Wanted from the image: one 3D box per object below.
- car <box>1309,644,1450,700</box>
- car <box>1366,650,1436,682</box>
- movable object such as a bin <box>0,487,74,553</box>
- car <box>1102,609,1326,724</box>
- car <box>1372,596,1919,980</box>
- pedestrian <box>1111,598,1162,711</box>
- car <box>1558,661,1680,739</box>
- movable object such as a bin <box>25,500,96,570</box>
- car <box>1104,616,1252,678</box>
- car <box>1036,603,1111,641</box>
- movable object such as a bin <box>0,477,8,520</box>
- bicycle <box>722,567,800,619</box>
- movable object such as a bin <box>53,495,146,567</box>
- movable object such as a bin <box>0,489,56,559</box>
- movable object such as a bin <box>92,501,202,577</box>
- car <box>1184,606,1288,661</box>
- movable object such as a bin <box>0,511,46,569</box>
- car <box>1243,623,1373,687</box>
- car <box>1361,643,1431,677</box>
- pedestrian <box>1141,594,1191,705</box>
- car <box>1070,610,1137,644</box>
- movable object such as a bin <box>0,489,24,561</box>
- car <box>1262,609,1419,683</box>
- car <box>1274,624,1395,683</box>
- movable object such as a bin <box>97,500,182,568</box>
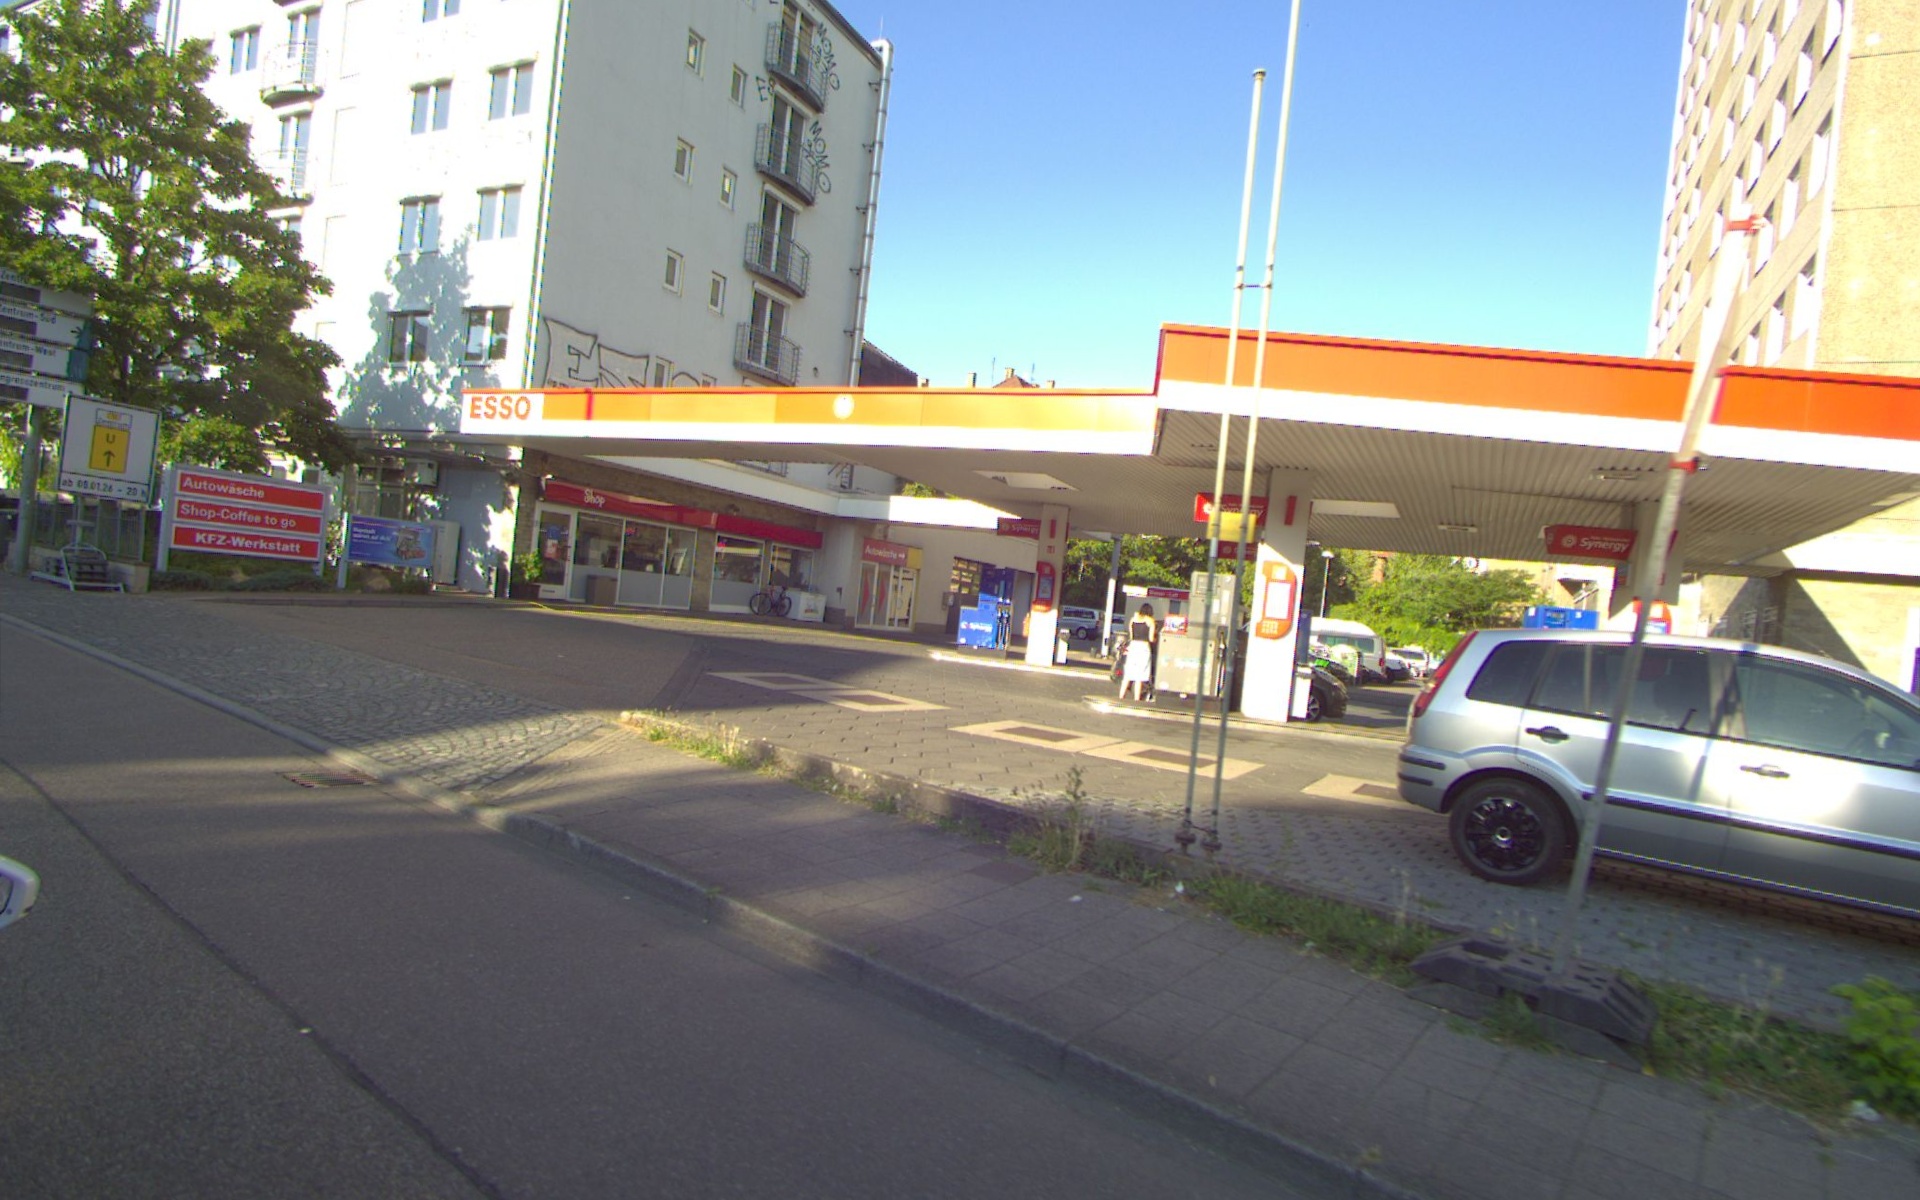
[{"bbox_3d":[14.311,2.422,34.374,4.183,1.312,1.748,7,0,30],"label":"car"},{"bbox_3d":[27.151,4.034,61.978,3.620,1.482,1.654,6,0,32],"label":"car"},{"bbox_3d":[-23.541,-2.029,25.651,0.940,1.503,1.105,7,1,29],"label":"movable object such as a bin"},{"bbox_3d":[4.056,1.037,16.490,3.239,1.457,1.590,6,1,6],"label":"car"},{"bbox_3d":[4.630,0.997,5.718,3.835,1.614,1.619,6,0,37],"label":"car"},{"bbox_3d":[2.700,0.823,15.426,0.557,1.642,0.534,6,1,7],"label":"pedestrian"},{"bbox_3d":[15.806,2.347,24.335,1.965,1.467,3.994,7,0,28],"label":"car"},{"bbox_3d":[-18.704,-1.346,20.923,0.850,1.325,0.778,7,1,29],"label":"movable object such as a bin"},{"bbox_3d":[6.951,1.483,32.133,4.183,1.438,1.748,7,0,30],"label":"car"},{"bbox_3d":[6.817,1.305,60.246,3.931,1.792,1.807,7,0,29],"label":"car"},{"bbox_3d":[-58.935,-6.269,57.927,2.504,2.521,5.360,6,0,27],"label":"movable object such as a bin"},{"bbox_3d":[-5.937,-0.178,30.271,0.518,1.331,2.808,7,0,28],"label":"bicycle"},{"bbox_3d":[-19.954,-1.588,23.332,1.259,1.452,1.308,8,3,35],"label":"movable object such as a bin"},{"bbox_3d":[-22.431,-1.831,23.592,1.188,1.503,1.330,6,0,21],"label":"movable object such as a bin"},{"bbox_3d":[-17.952,-1.328,22.239,0.850,1.427,1.610,7,0,29],"label":"movable object such as a bin"},{"bbox_3d":[16.105,1.943,58.863,5.391,2.525,1.693,7,1,28],"label":"car"},{"bbox_3d":[-18.766,-1.197,20.058,0.606,1.059,0.619,7,1,33],"label":"movable object such as a bin"},{"bbox_3d":[13.148,2.062,38.042,4.222,1.867,1.997,7,0,29],"label":"car"},{"bbox_3d":[31.598,4.356,73.012,4.318,1.903,1.654,6,1,32],"label":"car"},{"bbox_3d":[3.198,0.765,15.664,0.557,1.642,0.534,6,1,8],"label":"pedestrian"},{"bbox_3d":[9.625,1.794,67.425,3.931,1.792,1.807,7,0,29],"label":"car"},{"bbox_3d":[-21.437,-1.687,21.950,1.233,1.526,1.094,4,-1,30],"label":"movable object such as a bin"},{"bbox_3d":[17.009,2.034,45.047,6.193,2.533,1.997,7,1,27],"label":"car"},{"bbox_3d":[15.259,2.165,41.050,4.222,1.867,1.997,7,0,29],"label":"car"},{"bbox_3d":[-19.778,-1.586,24.244,1.258,1.440,1.195,8,3,33],"label":"movable object such as a bin"}]
